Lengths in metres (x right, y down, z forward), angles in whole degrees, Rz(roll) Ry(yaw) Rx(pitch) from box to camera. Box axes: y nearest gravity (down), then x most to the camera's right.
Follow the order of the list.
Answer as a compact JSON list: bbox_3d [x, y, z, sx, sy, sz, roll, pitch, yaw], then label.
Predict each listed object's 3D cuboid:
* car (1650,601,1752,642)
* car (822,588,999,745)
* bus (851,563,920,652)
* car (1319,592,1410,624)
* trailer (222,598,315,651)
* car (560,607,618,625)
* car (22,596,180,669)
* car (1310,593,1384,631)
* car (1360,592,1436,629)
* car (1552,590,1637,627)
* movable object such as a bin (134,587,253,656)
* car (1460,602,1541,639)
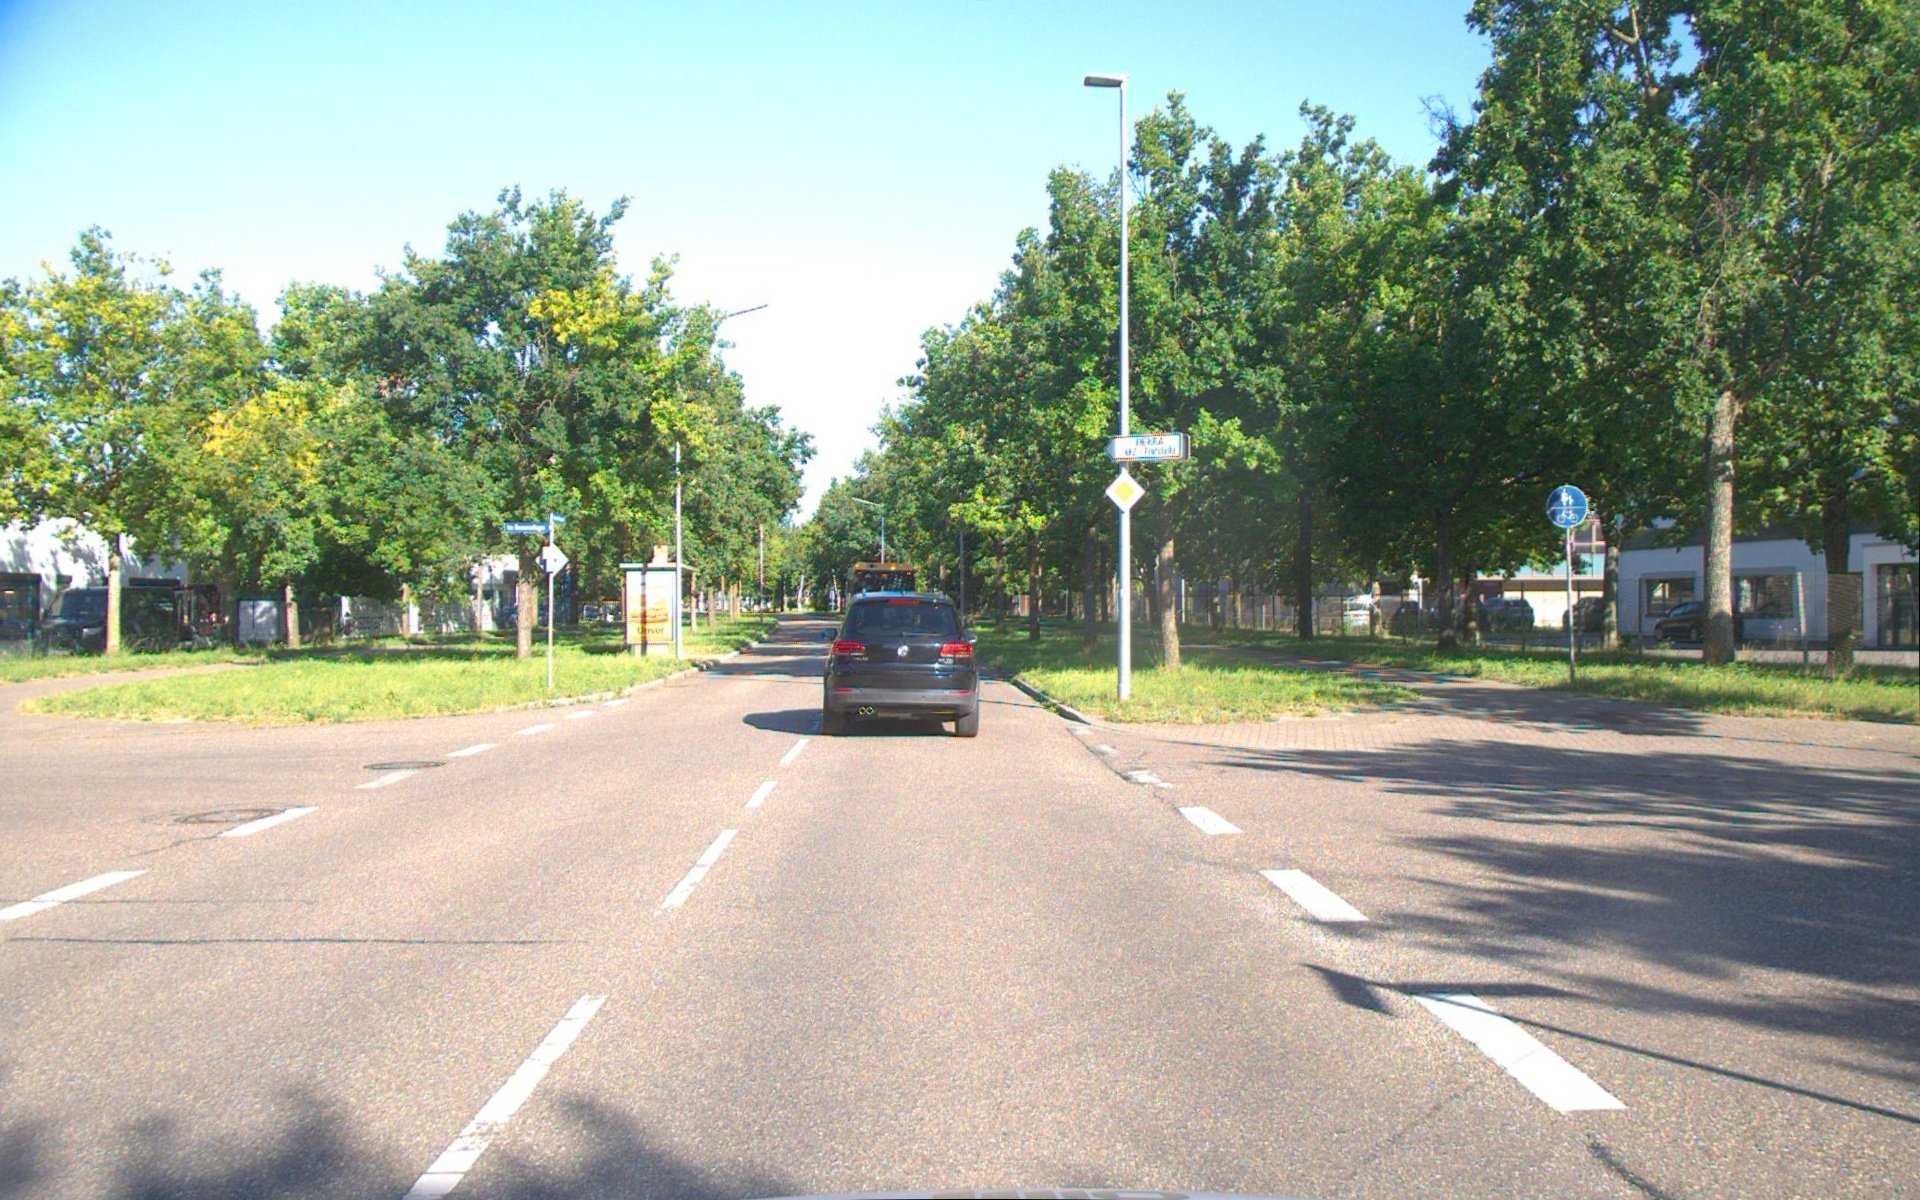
[{"bbox_3d":[26.546,0.743,59.386,1.730,1.408,3.763,0,0,-6],"label":"car"},{"bbox_3d":[-0.688,0.721,20.310,1.898,1.685,4.423,1,0,-4],"label":"car"},{"bbox_3d":[-3.271,0.284,71.348,2.709,3.517,11.203,0,0,-3],"label":"bus"},{"bbox_3d":[23.075,0.429,94.389,4.542,1.775,2.186,0,0,-10],"label":"car"},{"bbox_3d":[-26.330,0.891,63.078,2.060,1.948,3.739,0,0,-2],"label":"trailer"},{"bbox_3d":[-29.140,1.225,129.950,4.111,1.344,1.941,0,0,1],"label":"car"},{"bbox_3d":[-25.672,0.930,49.690,1.995,2.023,5.802,-1,0,-3],"label":"car"},{"bbox_3d":[18.805,0.555,80.567,2.142,1.775,4.636,0,0,-5],"label":"car"},{"bbox_3d":[21.337,0.502,80.728,2.142,1.775,4.636,0,0,-5],"label":"car"},{"bbox_3d":[31.356,0.414,81.881,2.142,1.775,4.636,0,0,-5],"label":"car"},{"bbox_3d":[-25.856,0.698,55.962,2.060,2.256,4.458,0,0,-2],"label":"movable object such as a bin"},{"bbox_3d":[26.576,0.978,81.485,2.142,1.775,4.636,0,0,-5],"label":"car"}]
